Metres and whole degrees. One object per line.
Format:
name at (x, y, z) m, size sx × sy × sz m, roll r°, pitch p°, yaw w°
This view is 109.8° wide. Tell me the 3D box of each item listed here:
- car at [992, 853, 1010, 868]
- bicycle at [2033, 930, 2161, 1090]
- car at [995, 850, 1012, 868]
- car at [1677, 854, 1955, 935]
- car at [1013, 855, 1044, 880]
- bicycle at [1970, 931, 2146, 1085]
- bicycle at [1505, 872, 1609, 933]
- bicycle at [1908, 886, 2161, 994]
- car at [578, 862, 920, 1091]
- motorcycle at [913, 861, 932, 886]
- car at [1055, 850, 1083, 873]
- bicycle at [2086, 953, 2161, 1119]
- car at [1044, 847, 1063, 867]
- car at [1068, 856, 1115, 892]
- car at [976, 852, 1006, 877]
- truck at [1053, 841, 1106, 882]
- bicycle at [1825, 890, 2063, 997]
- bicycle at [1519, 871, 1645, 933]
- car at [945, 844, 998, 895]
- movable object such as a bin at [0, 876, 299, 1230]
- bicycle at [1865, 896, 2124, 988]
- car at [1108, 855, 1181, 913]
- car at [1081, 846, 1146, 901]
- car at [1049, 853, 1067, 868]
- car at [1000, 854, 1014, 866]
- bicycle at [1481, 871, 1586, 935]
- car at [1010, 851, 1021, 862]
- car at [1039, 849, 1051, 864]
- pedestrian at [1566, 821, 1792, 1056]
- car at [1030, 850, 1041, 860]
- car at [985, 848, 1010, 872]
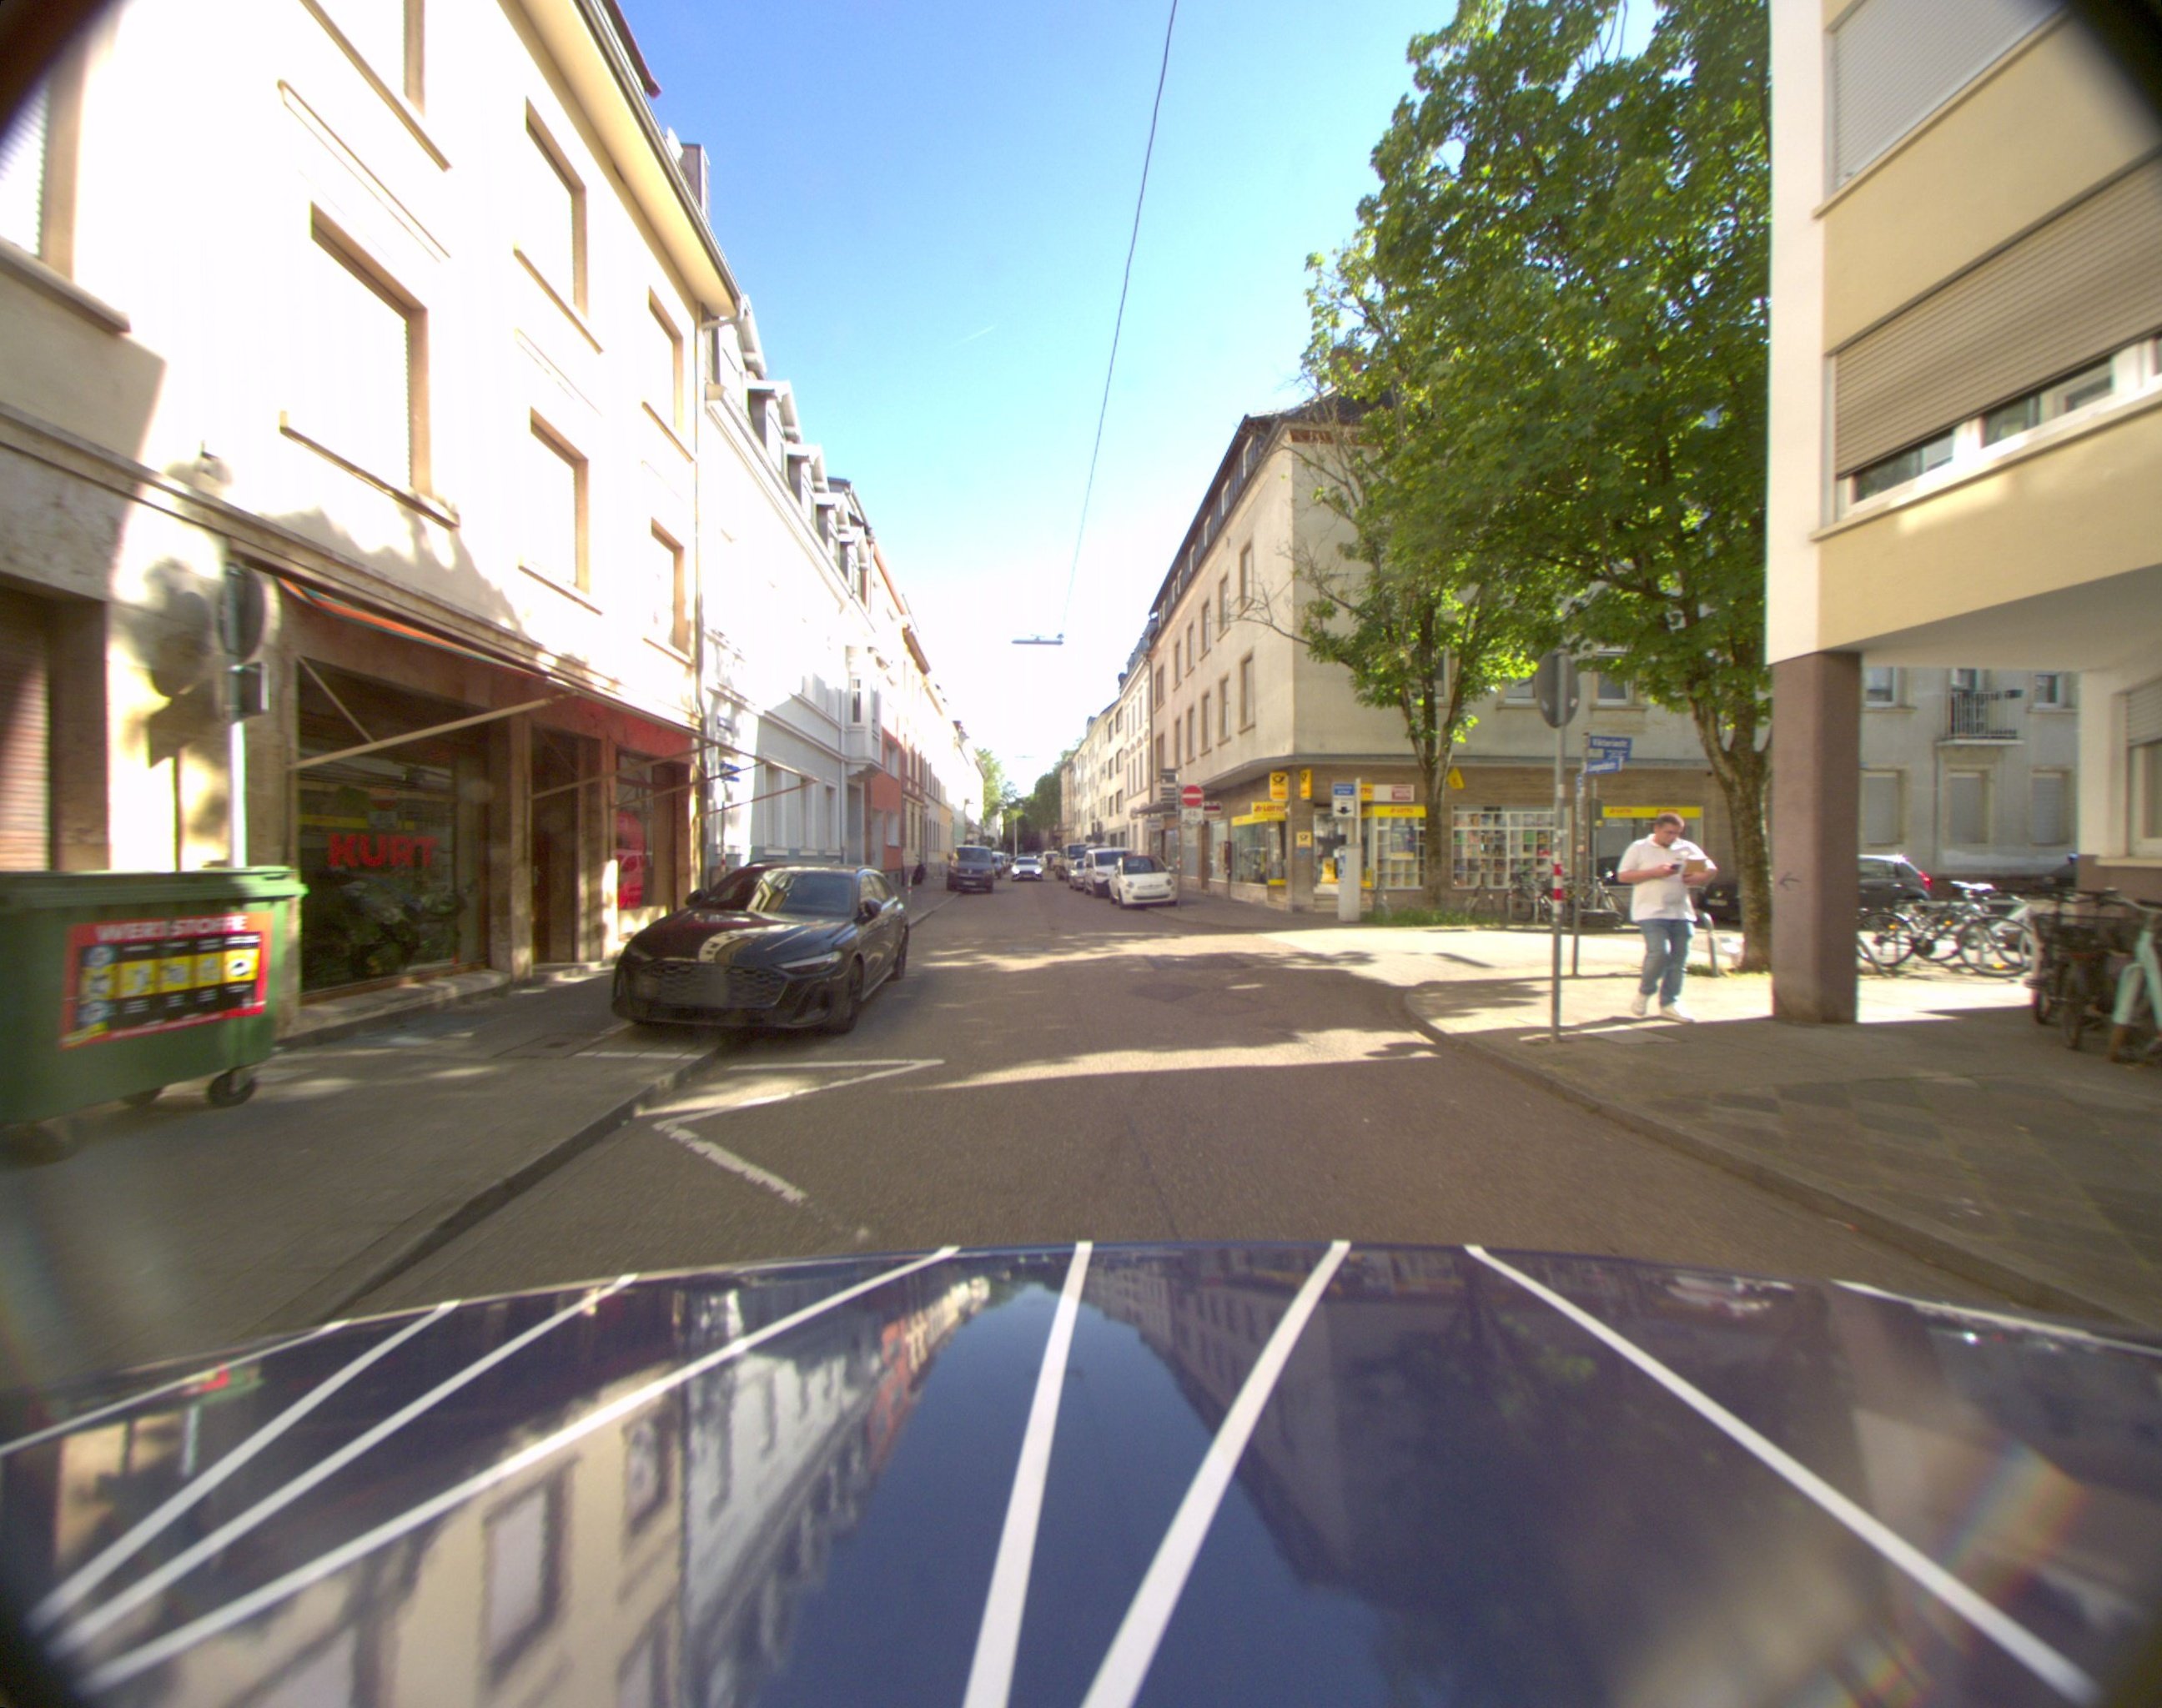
car at (-7.626, 0.630, 72.945) m, size 1.579 × 1.459 × 3.868 m, roll 0°, pitch -1°, yaw -4°
bicycle at (7.803, 1.105, 5.671) m, size 0.382 × 0.908 × 1.867 m, roll 1°, pitch 1°, yaw 36°
car at (-7.984, 0.502, 78.629) m, size 1.605 × 1.772 × 3.758 m, roll 0°, pitch 0°, yaw -4°
car at (15.811, 0.827, 16.506) m, size 4.238 × 1.578 × 1.900 m, roll 0°, pitch 2°, yaw -2°
car at (-3.171, 0.772, 45.810) m, size 1.762 × 1.399 × 4.019 m, roll 0°, pitch 1°, yaw -4°
bicycle at (7.404, 1.102, 5.826) m, size 0.403 × 0.892 × 1.589 m, roll 1°, pitch 0°, yaw 37°
bicycle at (10.036, 0.986, 16.150) m, size 0.523 × 1.111 × 2.402 m, roll 0°, pitch 1°, yaw -4°
bicycle at (12.339, 1.029, 9.816) m, size 0.504 × 1.178 × 2.439 m, roll 1°, pitch -1°, yaw -5°
car at (-2.979, 0.938, 8.127) m, size 1.806 × 1.570 × 4.894 m, roll -1°, pitch 1°, yaw -4°
motorcycle at (-7.452, 0.897, 35.849) m, size 0.638 × 1.038 × 2.361 m, roll 0°, pitch 1°, yaw -6°
car at (-1.009, 0.575, 62.611) m, size 1.760 × 1.760 × 4.175 m, roll 1°, pitch 1°, yaw -9°
bicycle at (6.591, 1.118, 4.423) m, size 0.430 × 0.877 × 1.573 m, roll -2°, pitch 0°, yaw 35°
car at (-3.100, 0.318, 84.054) m, size 1.914 × 2.076 × 4.694 m, roll 0°, pitch 1°, yaw -4°
car at (0.420, 0.871, 34.944) m, size 1.670 × 1.514 × 4.486 m, roll 2°, pitch 0°, yaw -5°
car at (-5.957, 0.688, 50.629) m, size 1.745 × 1.534 × 4.049 m, roll 0°, pitch 1°, yaw -4°
truck at (-0.201, 0.353, 46.286) m, size 2.172 × 2.295 × 6.341 m, roll 1°, pitch 1°, yaw -10°
bicycle at (10.525, 1.037, 9.405) m, size 0.483 × 1.095 × 2.062 m, roll 0°, pitch -1°, yaw -5°
bicycle at (10.629, 0.982, 16.257) m, size 0.709 × 1.121 × 2.426 m, roll 0°, pitch 1°, yaw -12°
car at (-4.663, 0.601, 33.011) m, size 1.976 × 2.017 × 4.896 m, roll -2°, pitch 1°, yaw -5°
movable object such as a bin at (-4.952, 0.861, 3.756) m, size 0.748 × 1.428 × 1.372 m, roll 2°, pitch 1°, yaw -3°
bicycle at (11.666, 1.069, 9.854) m, size 0.641 × 1.023 × 2.183 m, roll 0°, pitch -2°, yaw -2°
car at (1.814, 0.830, 22.802) m, size 1.672 × 1.551 × 3.720 m, roll 0°, pitch 1°, yaw -4°
car at (1.134, 0.673, 28.981) m, size 1.772 × 1.887 × 4.806 m, roll 1°, pitch 0°, yaw -6°
car at (-2.403, 0.625, 77.589) m, size 1.731 × 1.484 × 4.113 m, roll -1°, pitch 0°, yaw -3°
car at (-9.148, 0.733, 94.226) m, size 1.589 × 1.409 × 3.555 m, roll 0°, pitch 1°, yaw -4°
bicycle at (9.383, 0.980, 15.885) m, size 0.709 × 1.136 × 2.306 m, roll 0°, pitch 1°, yaw -3°
car at (-10.936, 0.396, 126.627) m, size 1.857 × 1.620 × 4.070 m, roll 0°, pitch 1°, yaw -4°
car at (-4.923, 0.353, 103.659) m, size 1.586 × 1.971 × 4.066 m, roll 0°, pitch 1°, yaw -4°
pedestrian at (5.065, 0.669, 6.549) m, size 0.913 × 1.821 × 1.245 m, roll 0°, pitch -1°, yaw -5°
car at (-7.980, 0.190, 133.140) m, size 1.787 × 1.674 × 4.019 m, roll 0°, pitch 1°, yaw -4°
car at (-6.944, 0.485, 63.693) m, size 1.899 × 1.875 × 4.455 m, roll 0°, pitch 1°, yaw -4°
